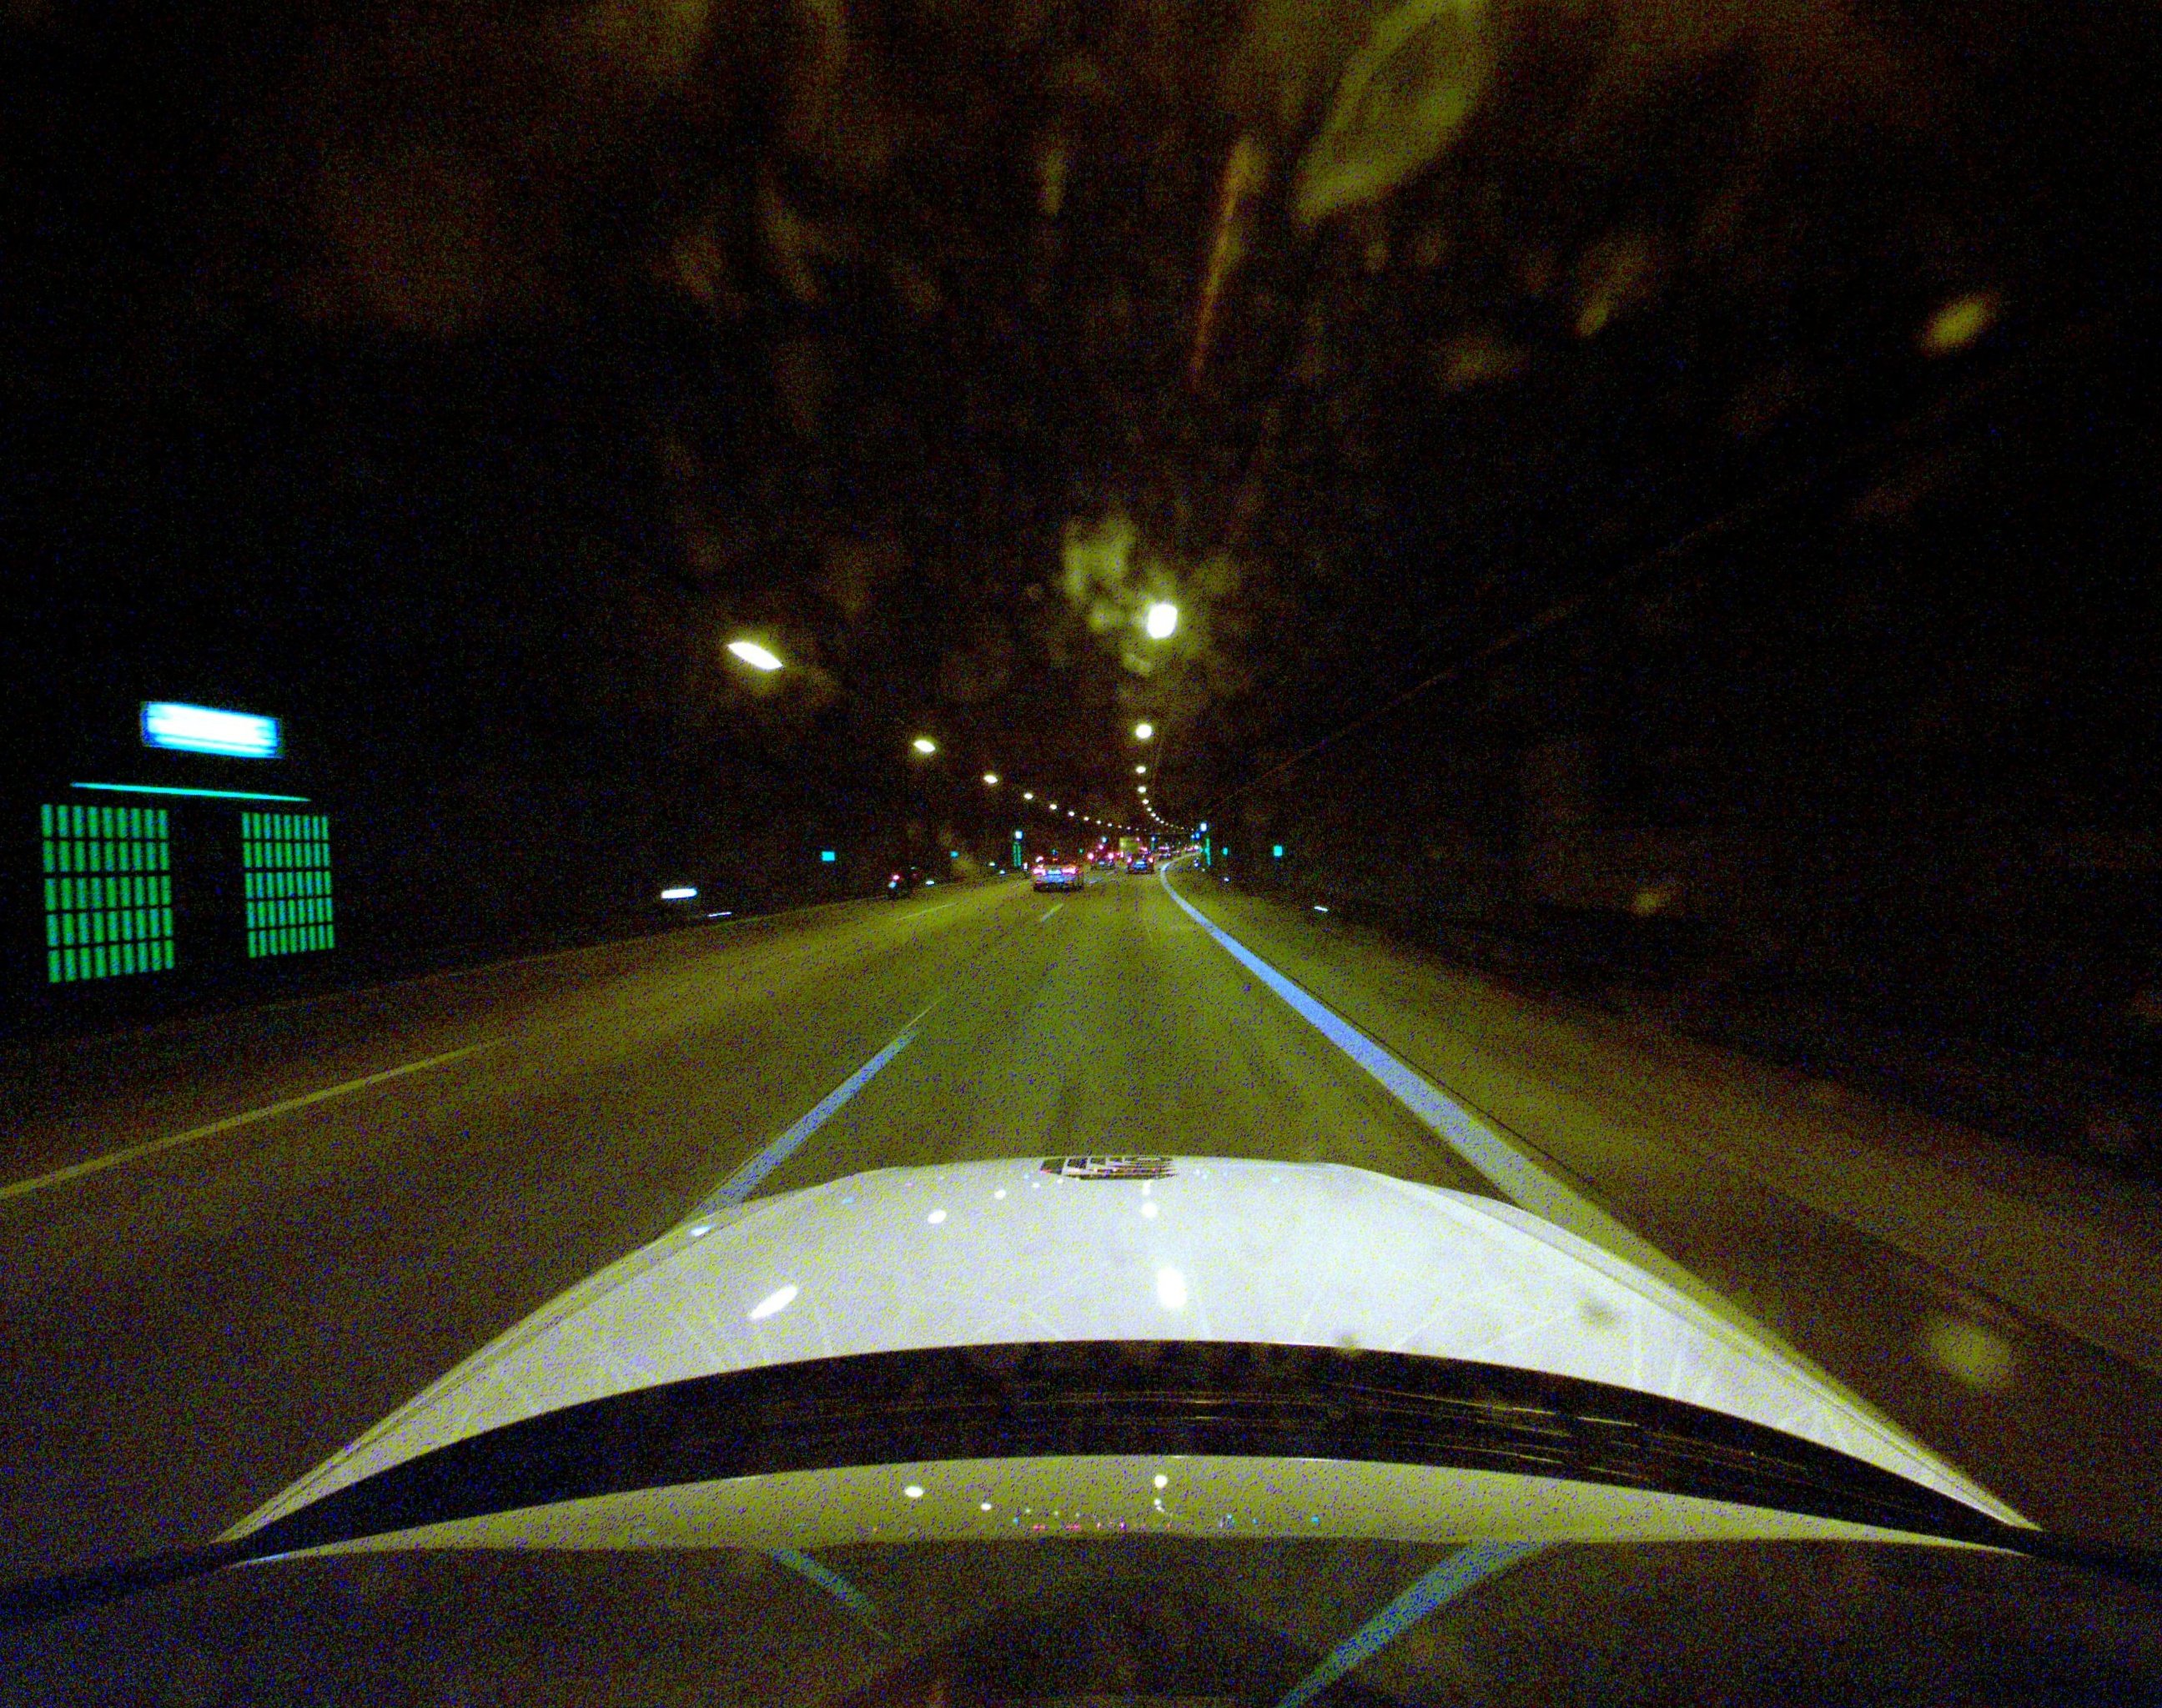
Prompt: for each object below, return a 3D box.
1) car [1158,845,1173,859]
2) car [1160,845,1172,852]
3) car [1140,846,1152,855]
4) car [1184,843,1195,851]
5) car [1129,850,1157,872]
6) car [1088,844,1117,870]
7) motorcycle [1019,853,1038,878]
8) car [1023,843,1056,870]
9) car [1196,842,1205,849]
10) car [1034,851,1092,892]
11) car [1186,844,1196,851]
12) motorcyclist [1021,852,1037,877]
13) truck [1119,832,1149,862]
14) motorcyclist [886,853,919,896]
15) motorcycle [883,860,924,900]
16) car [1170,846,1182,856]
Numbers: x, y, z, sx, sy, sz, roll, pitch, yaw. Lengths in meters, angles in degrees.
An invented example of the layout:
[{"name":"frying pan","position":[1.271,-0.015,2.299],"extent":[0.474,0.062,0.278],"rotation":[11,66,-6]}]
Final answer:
[{"name":"car","position":[11.521,-0.238,110.981],"extent":[1.846,1.854,4.009],"rotation":[-1,0,8]},{"name":"car","position":[19.123,-1.195,183.296],"extent":[1.916,1.642,4.016],"rotation":[-1,0,15]},{"name":"car","position":[11.950,-0.605,149.419],"extent":[1.919,1.642,4.011],"rotation":[-1,0,9]},{"name":"car","position":[23.257,-1.403,174.503],"extent":[1.918,1.642,4.012],"rotation":[-1,0,11]},{"name":"car","position":[4.292,0.535,56.004],"extent":[1.733,1.464,3.878],"rotation":[0,-1,7]},{"name":"car","position":[1.865,0.202,68.362],"extent":[1.898,1.944,3.881],"rotation":[-1,2,9]},{"name":"motorcycle","position":[-3.106,0.655,48.435],"extent":[0.923,1.433,2.962],"rotation":[0,0,-1]},{"name":"car","position":[-3.189,0.189,63.265],"extent":[1.984,2.013,4.006],"rotation":[-1,0,5]},{"name":"car","position":[28.504,-1.938,194.415],"extent":[1.980,1.631,4.013],"rotation":[-1,0,11]},{"name":"car","position":[-0.644,0.661,33.733],"extent":[1.693,1.418,5.070],"rotation":[-1,1,6]},{"name":"car","position":[28.036,-1.675,207.556],"extent":[1.917,1.642,4.014],"rotation":[-1,0,13]},{"name":"motorcyclist","position":[-3.085,0.612,48.417],"extent":[0.804,1.448,1.865],"rotation":[-1,0,0]},{"name":"truck","position":[6.920,-0.911,105.763],"extent":[3.020,3.673,7.413],"rotation":[-1,0,10]},{"name":"motorcyclist","position":[-6.088,0.691,27.821],"extent":[0.773,1.452,1.070],"rotation":[-1,0,5]},{"name":"motorcycle","position":[-6.055,0.854,27.892],"extent":[0.679,1.297,2.402],"rotation":[-1,0,5]},{"name":"car","position":[16.303,-0.523,139.210],"extent":[1.939,1.772,4.010],"rotation":[-1,0,8]}]
